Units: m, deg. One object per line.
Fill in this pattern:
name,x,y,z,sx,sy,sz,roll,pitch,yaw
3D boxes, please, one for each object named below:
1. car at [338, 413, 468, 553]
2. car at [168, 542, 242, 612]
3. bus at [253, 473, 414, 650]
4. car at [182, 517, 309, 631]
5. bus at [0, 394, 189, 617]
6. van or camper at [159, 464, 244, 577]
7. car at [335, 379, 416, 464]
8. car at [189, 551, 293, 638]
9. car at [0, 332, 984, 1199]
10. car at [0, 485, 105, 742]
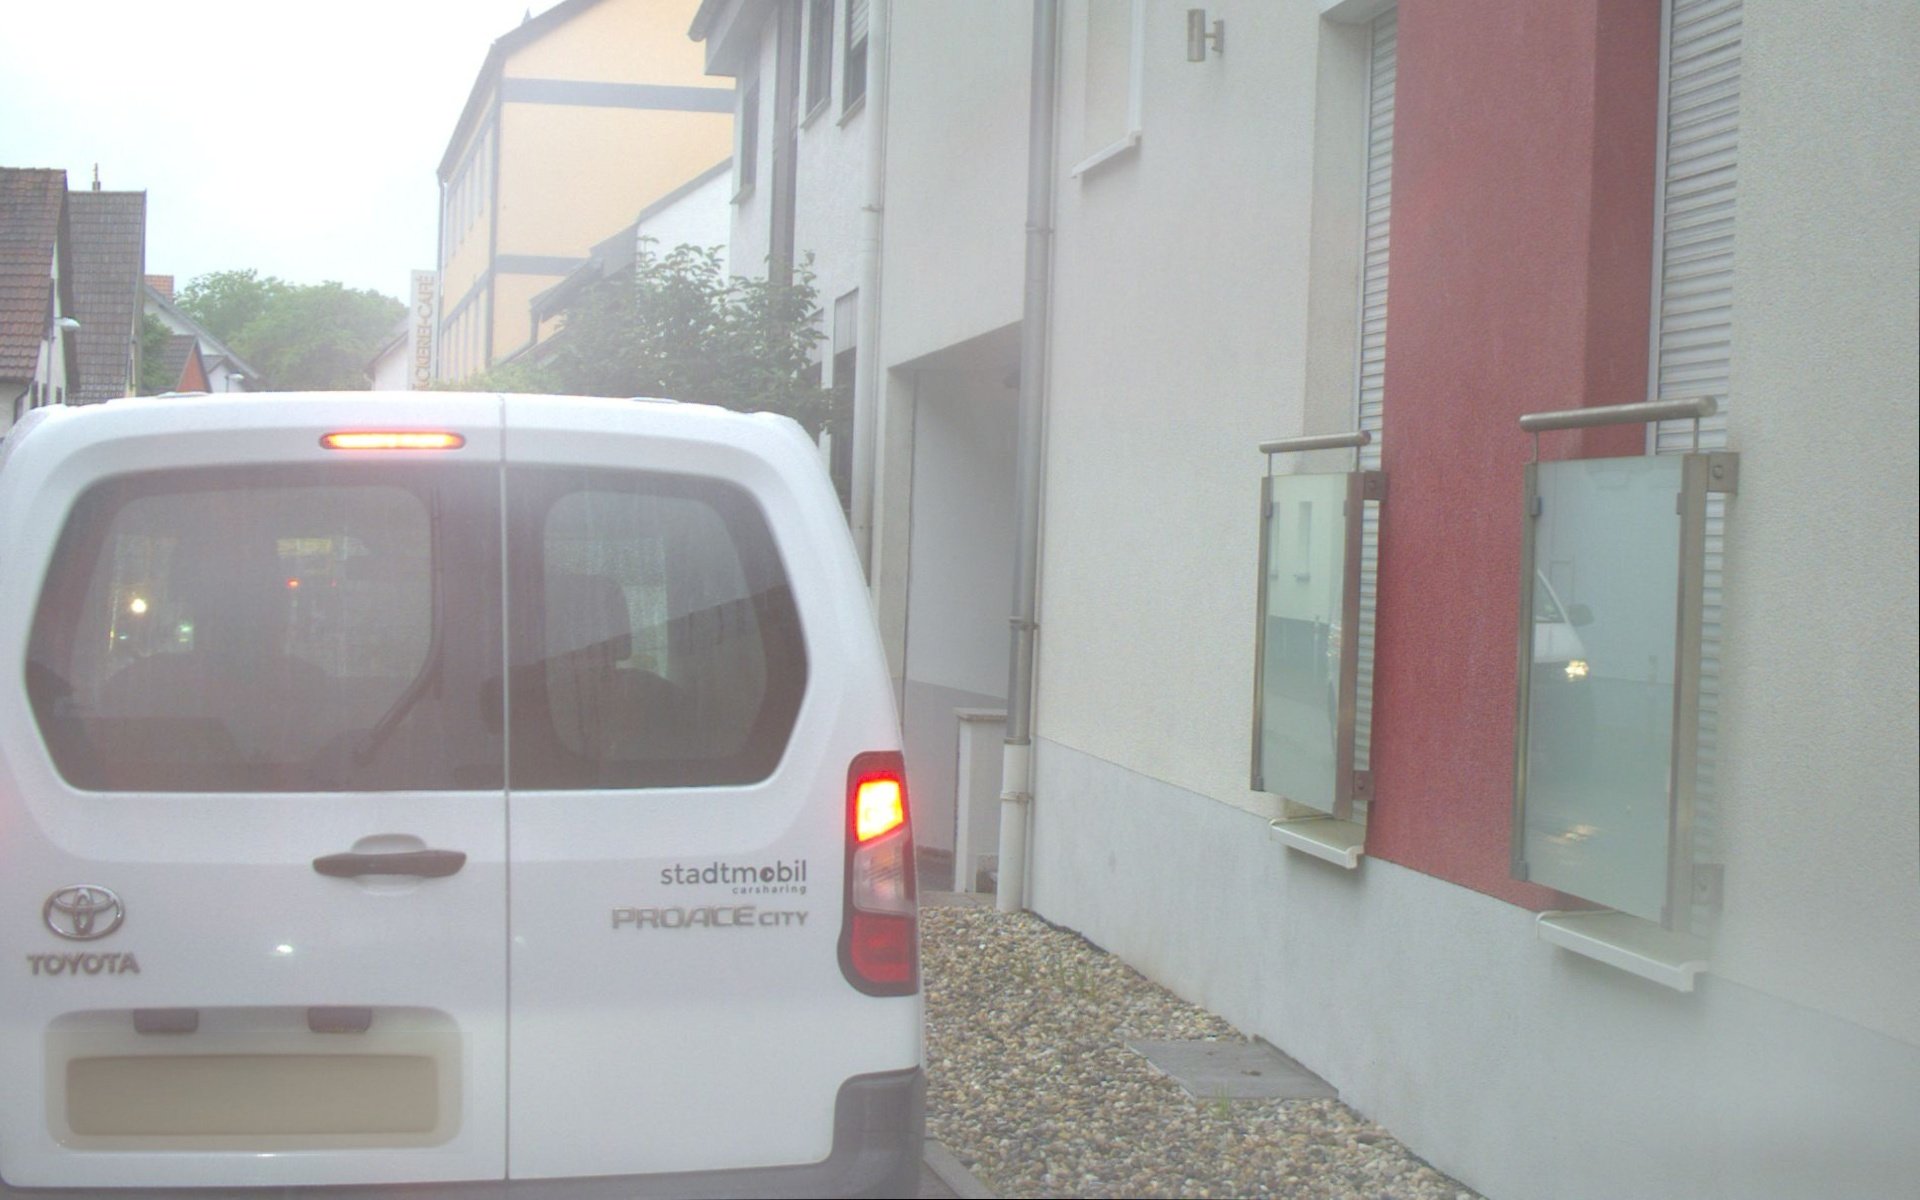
car,-8.839,-1.805,54.384,1.826,2.007,3.695,3,0,-11
car,-19.706,-0.594,89.803,1.578,1.718,3.552,3,0,-9
bus,-12.572,-0.747,68.922,2.792,3.169,8.180,4,0,-11
car,-10.051,-0.361,48.524,1.561,1.475,3.586,3,0,-10
bus,-14.560,-1.497,57.479,2.792,3.318,8.180,3,0,-11
van or camper,-20.909,-2.151,94.943,1.835,2.915,5.364,3,0,-9
car,-15.781,-4.794,92.912,1.993,2.007,4.001,3,0,-9
car,-12.407,-0.104,59.481,1.561,1.367,3.586,3,0,-10
car,-1.232,0.481,7.460,1.794,1.812,4.103,0,0,-11
car,-8.304,0.054,28.848,1.892,1.960,4.724,3,0,-12
